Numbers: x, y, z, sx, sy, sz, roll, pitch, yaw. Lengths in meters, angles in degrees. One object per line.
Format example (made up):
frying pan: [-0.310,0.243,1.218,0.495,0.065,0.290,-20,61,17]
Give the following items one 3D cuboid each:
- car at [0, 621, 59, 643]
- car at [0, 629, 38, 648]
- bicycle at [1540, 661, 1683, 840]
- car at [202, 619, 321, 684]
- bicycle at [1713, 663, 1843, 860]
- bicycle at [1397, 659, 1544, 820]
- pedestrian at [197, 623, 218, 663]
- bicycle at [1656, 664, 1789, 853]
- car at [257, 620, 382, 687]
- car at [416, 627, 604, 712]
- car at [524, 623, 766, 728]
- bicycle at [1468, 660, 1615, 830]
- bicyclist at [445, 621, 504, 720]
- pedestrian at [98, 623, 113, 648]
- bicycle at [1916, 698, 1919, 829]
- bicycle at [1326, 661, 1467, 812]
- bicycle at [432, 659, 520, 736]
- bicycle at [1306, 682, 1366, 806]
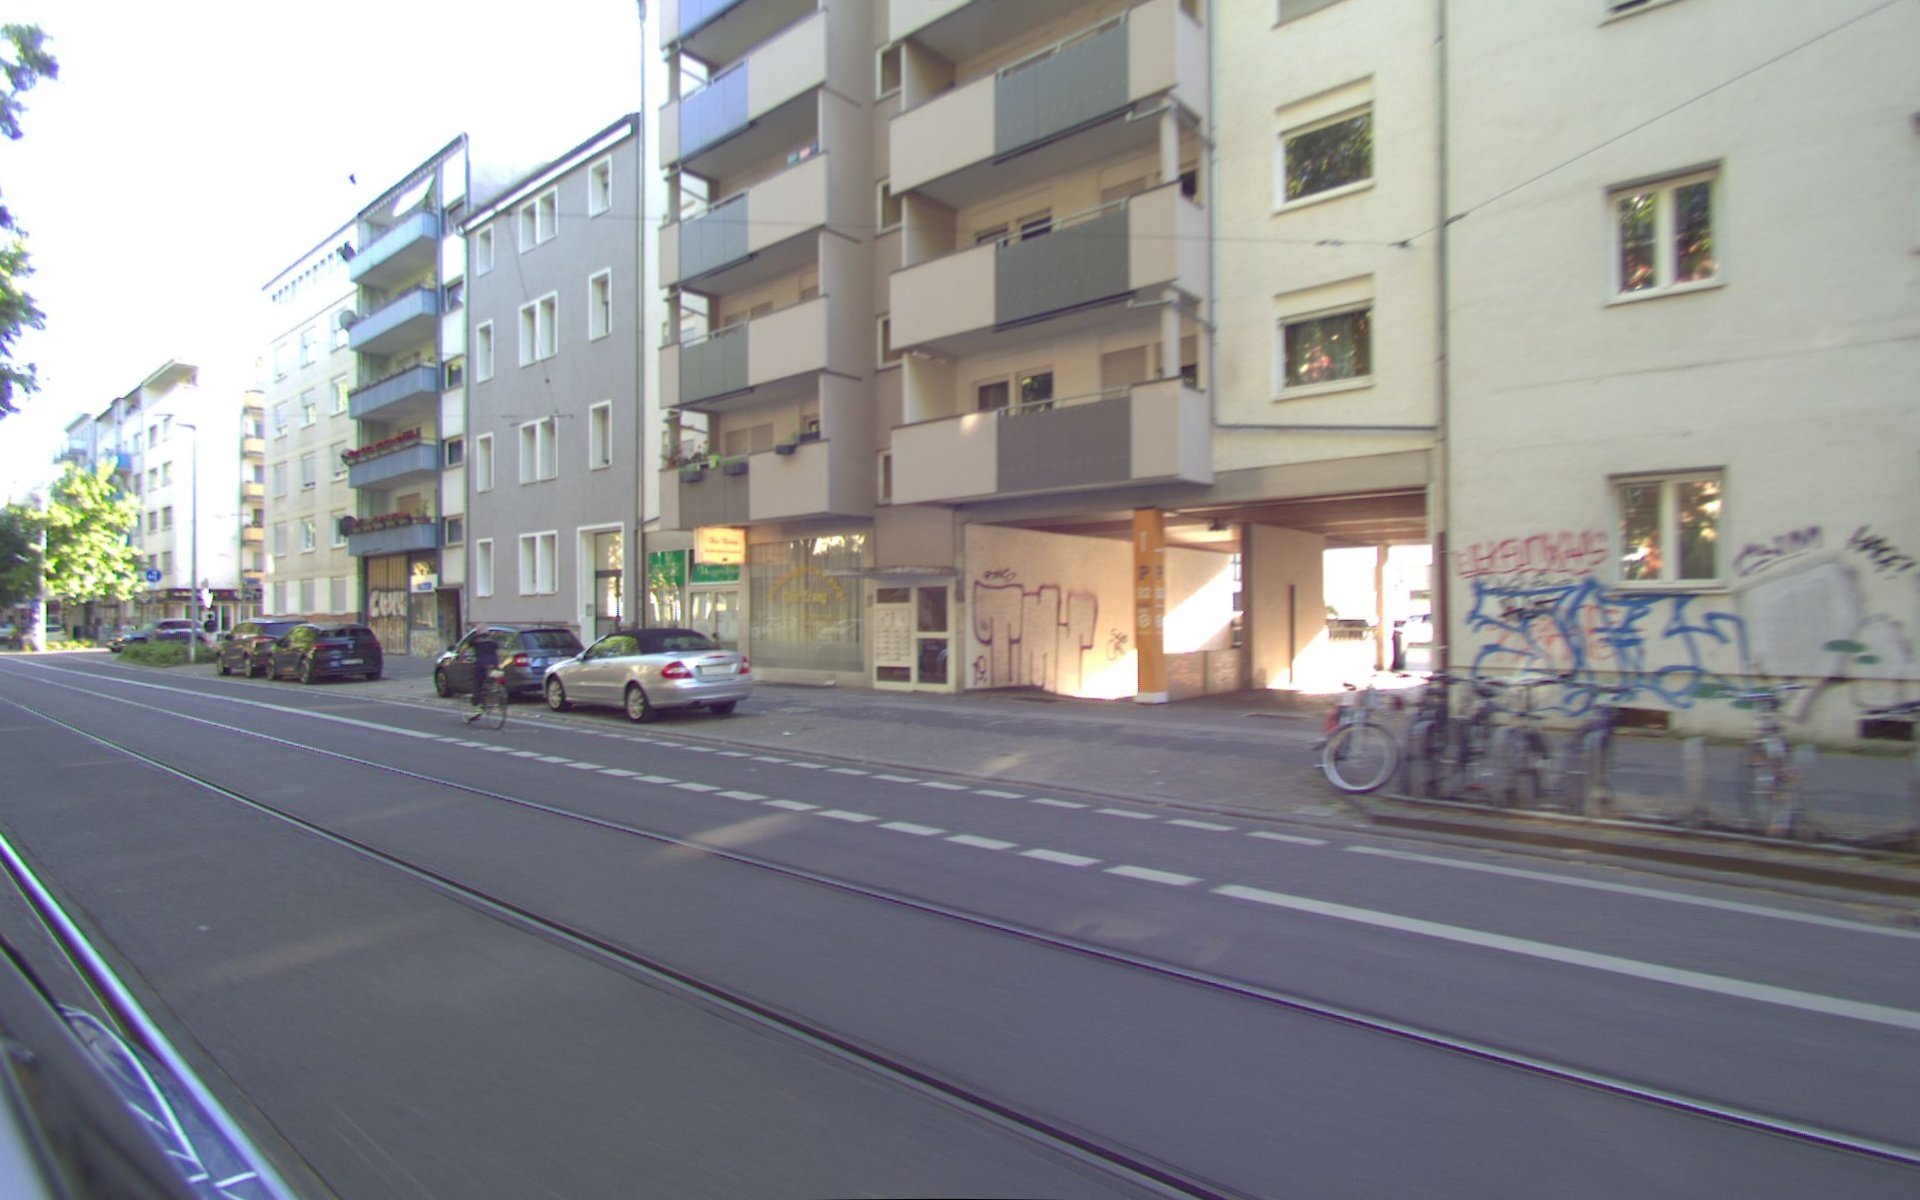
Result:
car: [-67.849,2.290,73.241,1.587,1.535,3.899,-2,-2,45]
car: [-78.105,3.162,82.782,1.587,1.535,3.899,-2,-2,45]
bicycle: [5.100,1.098,7.866,1.944,1.127,0.425,-1,0,-42]
car: [-20.975,1.490,30.335,4.485,1.752,1.762,-2,0,39]
bicycle: [5.767,1.057,7.099,1.767,1.127,0.425,-1,0,-42]
bicycle: [4.370,1.116,8.588,1.907,1.127,0.440,-1,0,-42]
pedestrian: [-37.151,2.127,49.947,0.762,1.913,0.800,-1,-1,-41]
bicycle: [5.611,1.085,7.407,1.797,1.127,0.425,-1,0,-42]
car: [-17.170,1.385,27.062,4.199,1.612,1.639,-2,0,40]
car: [-9.020,1.304,20.136,4.237,1.502,1.775,-2,-2,40]
car: [-5.329,1.146,16.763,4.727,1.502,1.671,-2,-2,42]
bicycle: [4.758,1.107,8.214,1.937,1.127,0.440,-1,0,-42]
bicyclist: [-7.078,1.017,14.758,0.709,1.405,0.503,-2,-4,41]
pedestrian: [-52.477,2.153,62.162,0.655,1.516,0.588,-2,-1,41]
bicycle: [6.486,1.104,6.452,1.871,1.045,0.402,-1,0,-42]
bicycle: [3.937,1.162,9.051,1.871,1.127,0.402,-1,0,-42]
bicycle: [-7.061,1.385,14.727,1.946,1.026,0.412,-1,-3,42]
bicycle: [3.543,1.300,9.488,0.400,0.924,1.610,-1,0,24]
